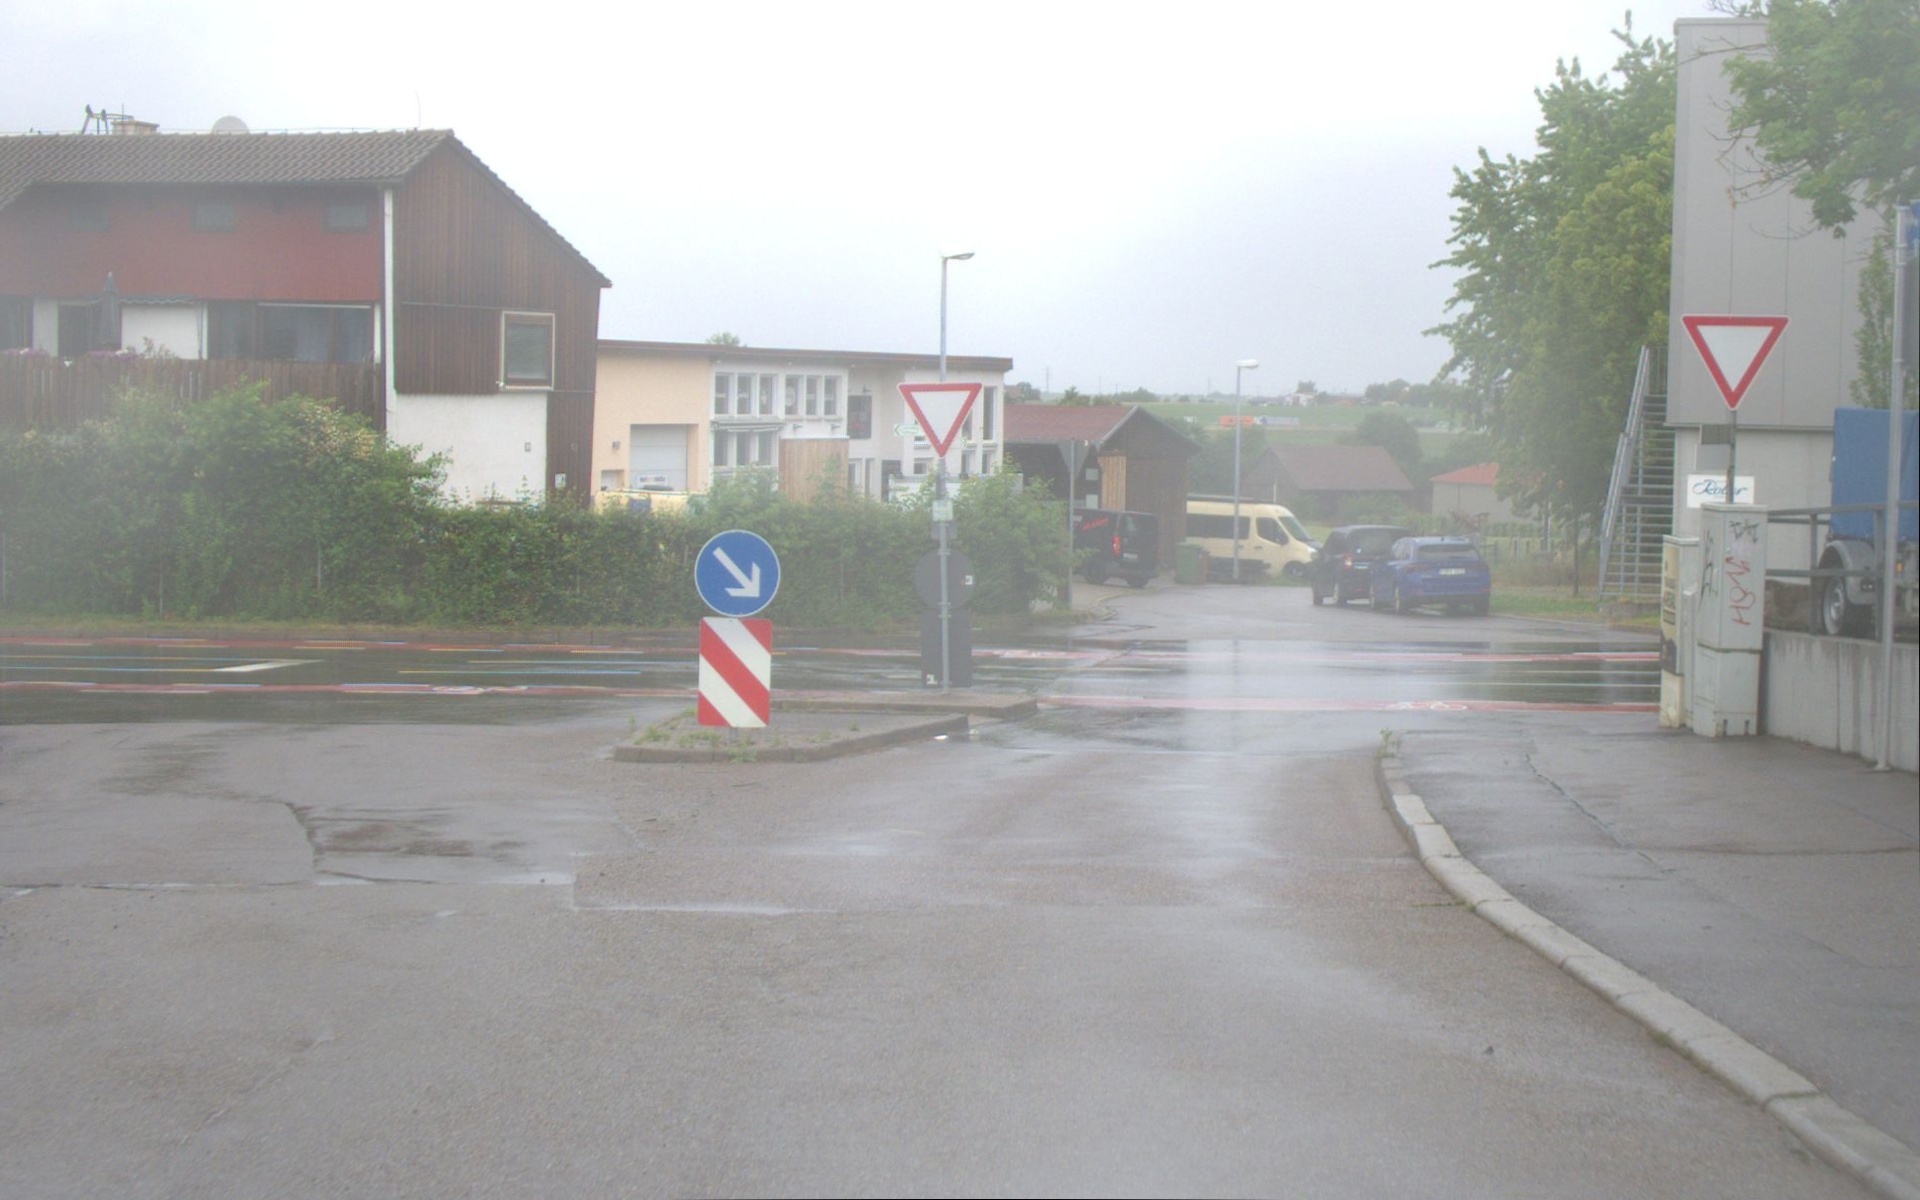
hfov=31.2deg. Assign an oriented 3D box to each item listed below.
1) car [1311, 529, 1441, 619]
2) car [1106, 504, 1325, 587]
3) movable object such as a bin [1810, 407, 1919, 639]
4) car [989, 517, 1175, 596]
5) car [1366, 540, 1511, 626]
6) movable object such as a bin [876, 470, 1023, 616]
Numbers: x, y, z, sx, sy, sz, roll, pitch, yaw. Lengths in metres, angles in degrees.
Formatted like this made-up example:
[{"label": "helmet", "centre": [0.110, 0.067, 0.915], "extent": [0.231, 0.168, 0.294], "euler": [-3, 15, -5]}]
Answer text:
[{"label": "car", "centre": [8.809, -0.561, 73.139], "extent": [2.074, 1.828, 4.471], "euler": [0, 1, -2]}, {"label": "car", "centre": [7.620, -1.624, 102.400], "extent": [6.016, 2.407, 2.460], "euler": [1, 1, 23]}, {"label": "movable object such as a bin", "centre": [6.680, -0.505, 23.206], "extent": [1.306, 1.495, 1.859], "euler": [0, 1, -4]}, {"label": "car", "centre": [2.999, -1.072, 84.980], "extent": [1.995, 1.898, 4.407], "euler": [0, 1, -45]}, {"label": "car", "centre": [9.233, -0.344, 66.688], "extent": [1.951, 1.604, 4.447], "euler": [0, 1, -3]}, {"label": "movable object such as a bin", "centre": [-0.162, -1.024, 61.770], "extent": [1.734, 2.548, 3.337], "euler": [1, 1, 17]}]
